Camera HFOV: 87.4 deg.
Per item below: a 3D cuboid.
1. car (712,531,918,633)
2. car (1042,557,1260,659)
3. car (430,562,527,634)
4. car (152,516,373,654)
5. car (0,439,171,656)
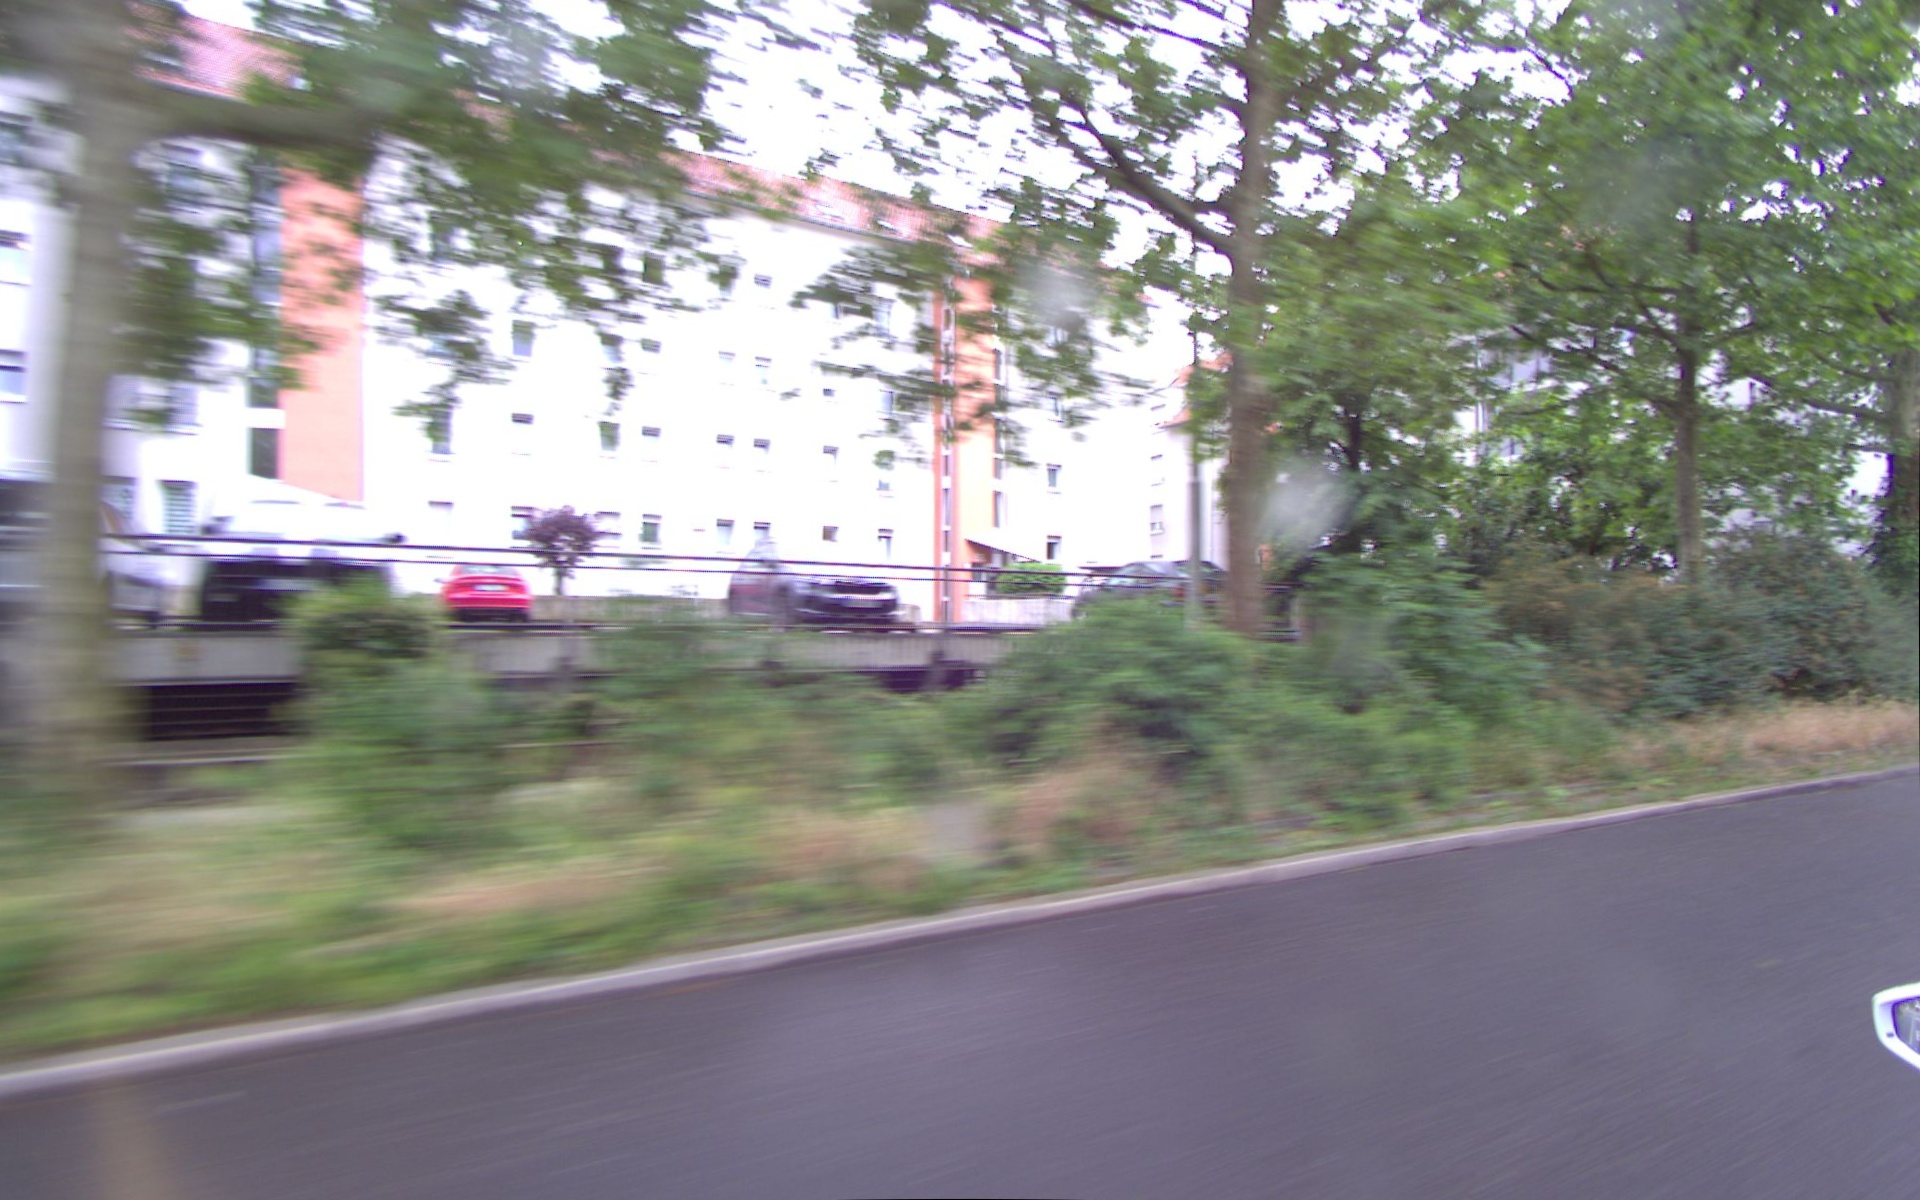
[{"bbox_3d":[-2.411,-0.209,15.882,1.811,1.392,3.966,1,-1,-31],"label":"car"},{"bbox_3d":[3.543,0.142,19.306,1.977,1.693,3.967,3,-1,-30],"label":"car"},{"bbox_3d":[-10.780,0.000,22.363,1.646,1.450,3.968,1,-1,-30],"label":"car"},{"bbox_3d":[-8.219,-0.104,12.159,1.836,1.340,4.421,1,-1,-31],"label":"car"},{"bbox_3d":[-10.206,-0.472,11.150,1.699,2.040,4.147,1,-1,-31],"label":"car"}]
